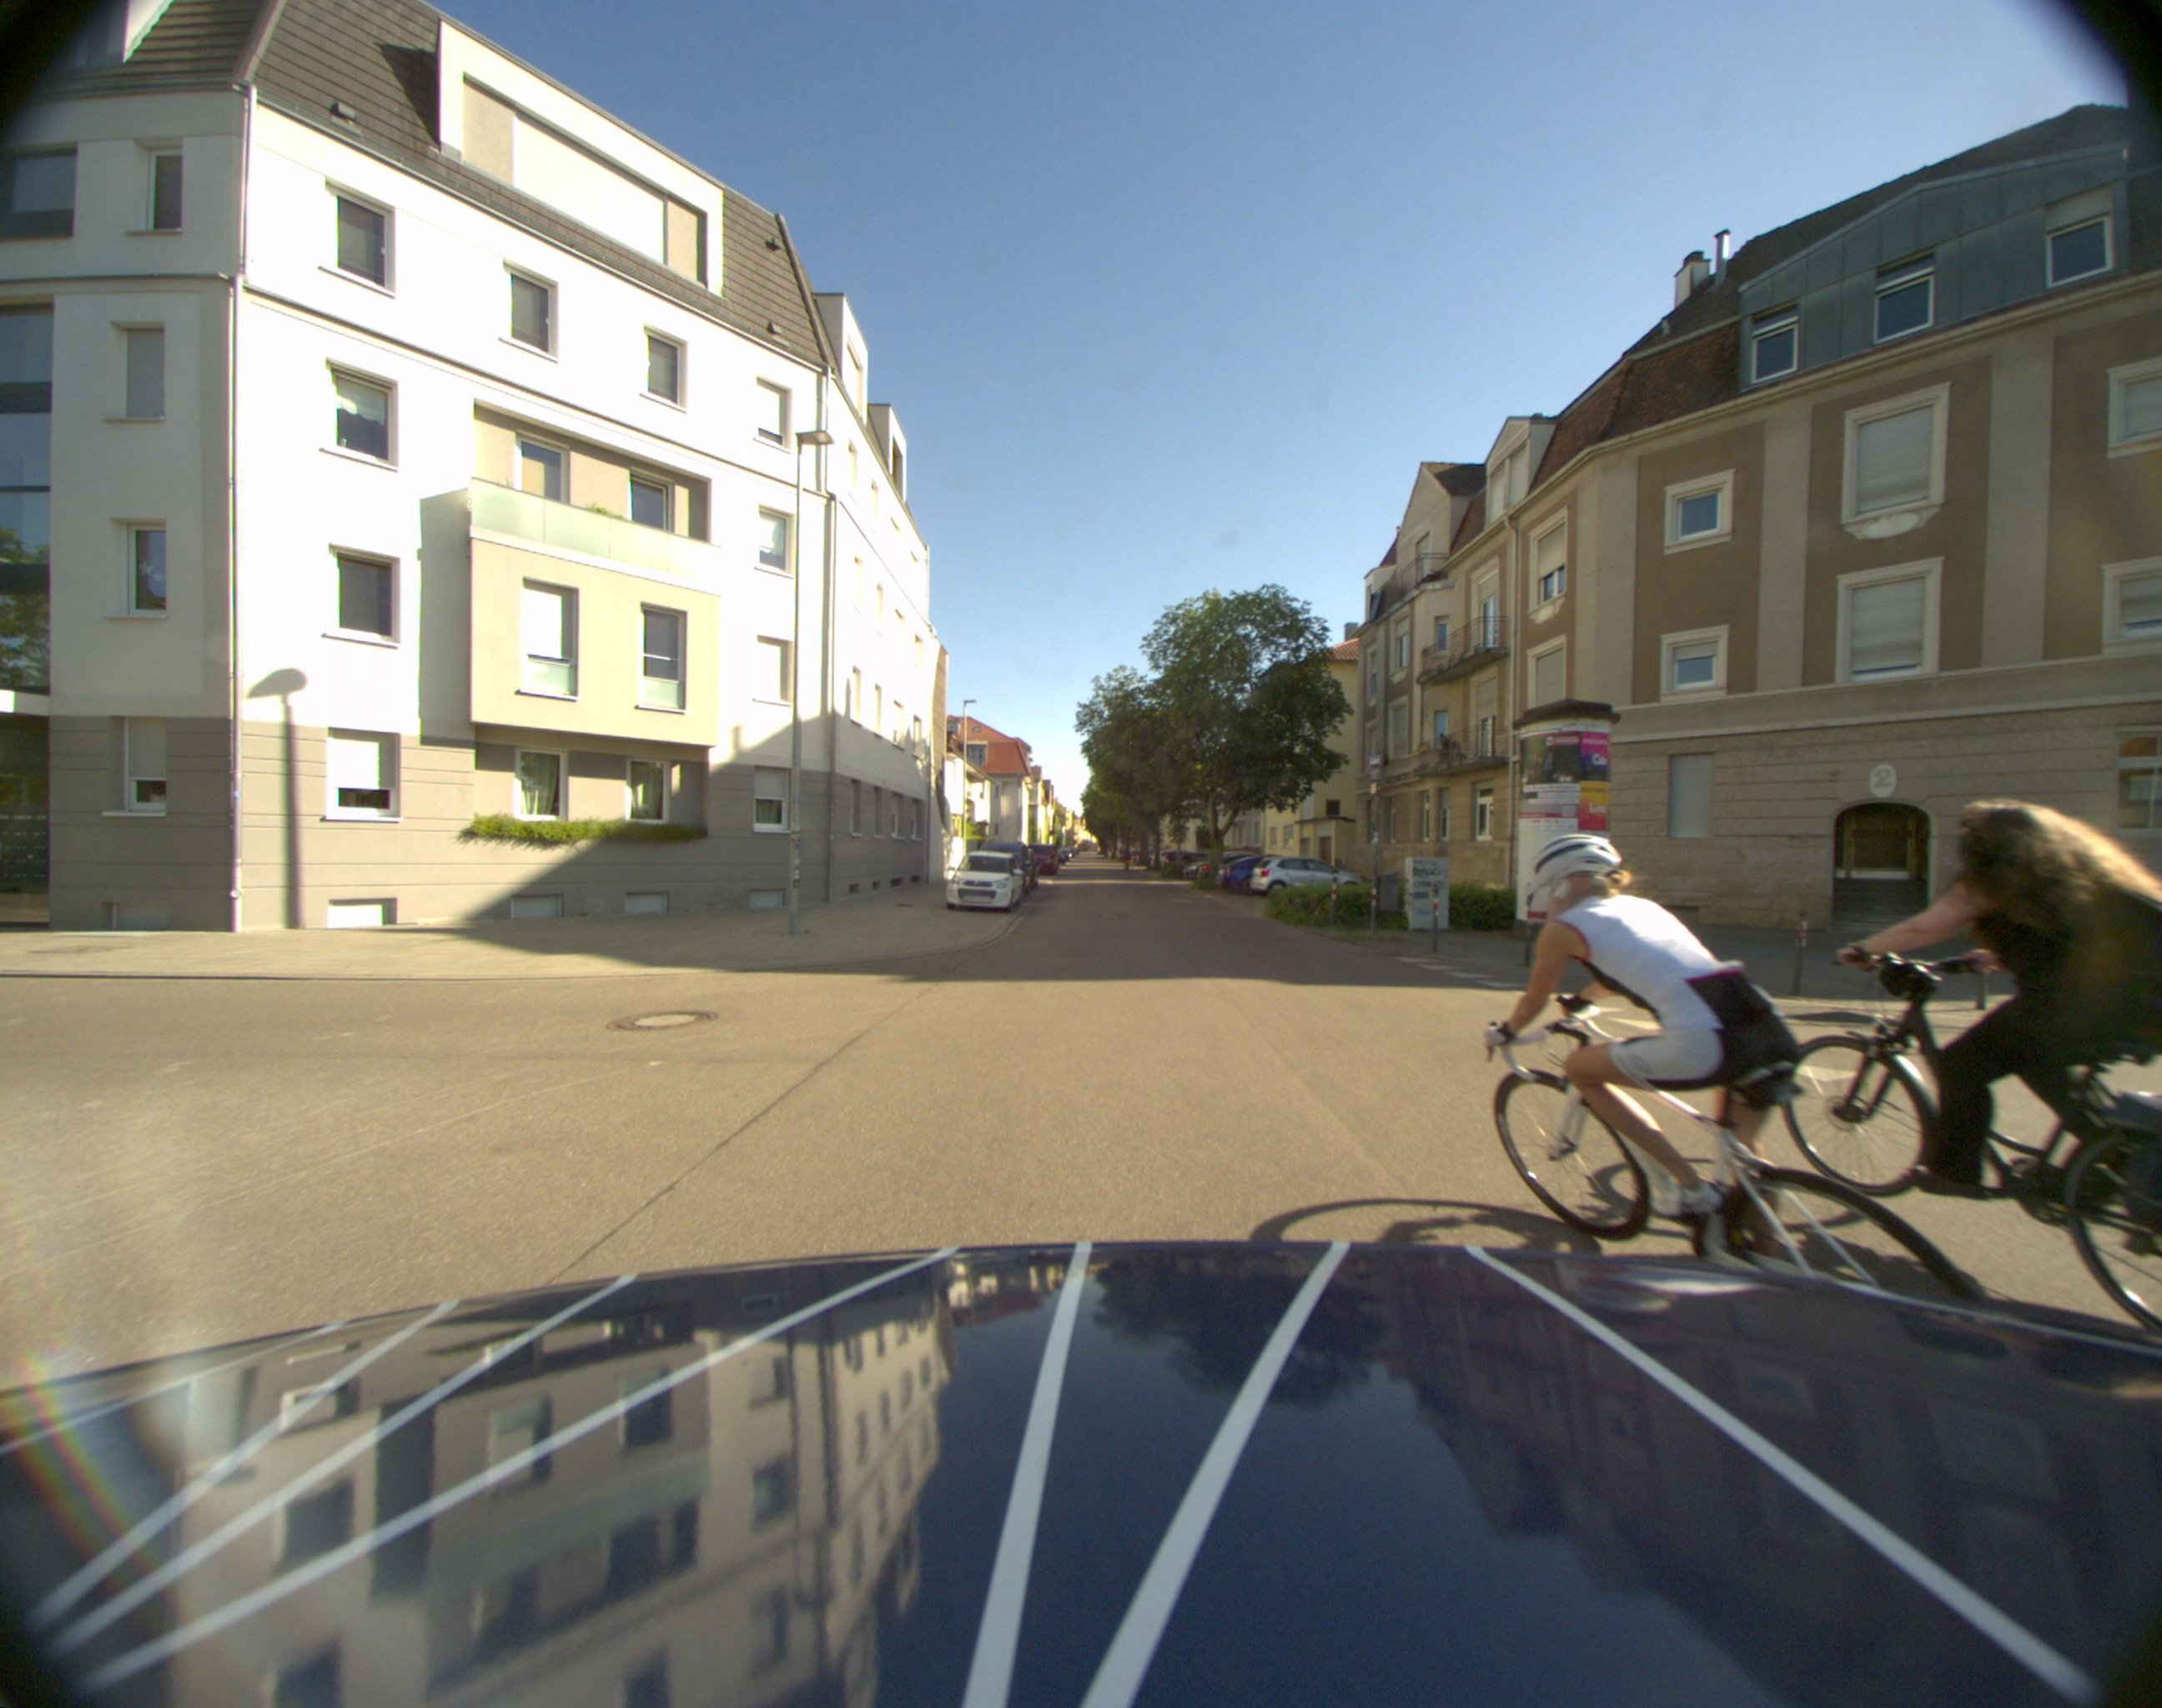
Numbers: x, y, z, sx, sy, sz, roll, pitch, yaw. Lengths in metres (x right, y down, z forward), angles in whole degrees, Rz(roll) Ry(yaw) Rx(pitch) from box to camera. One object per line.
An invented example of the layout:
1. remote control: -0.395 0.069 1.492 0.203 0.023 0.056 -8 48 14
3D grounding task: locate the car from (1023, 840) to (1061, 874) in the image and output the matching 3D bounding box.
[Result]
1. car: -2.321 0.170 46.247 1.884 1.860 4.401 4 1 1

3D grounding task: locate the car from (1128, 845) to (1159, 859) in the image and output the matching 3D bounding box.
1. car: 7.427 -0.255 90.890 3.528 1.693 1.692 0 1 -1

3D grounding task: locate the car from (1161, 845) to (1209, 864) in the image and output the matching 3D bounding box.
1. car: 8.378 0.051 61.437 3.529 1.486 1.691 0 1 -5

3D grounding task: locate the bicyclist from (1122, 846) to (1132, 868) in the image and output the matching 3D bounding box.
1. bicyclist: 3.279 0.203 54.460 0.644 1.557 1.043 1 1 1

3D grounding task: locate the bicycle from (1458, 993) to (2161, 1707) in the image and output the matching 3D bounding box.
1. bicycle: 1.773 1.121 2.215 0.506 1.083 1.709 1 1 2

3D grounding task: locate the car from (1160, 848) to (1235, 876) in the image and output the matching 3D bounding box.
1. car: 6.495 0.434 42.514 3.792 1.486 1.690 0 1 -13

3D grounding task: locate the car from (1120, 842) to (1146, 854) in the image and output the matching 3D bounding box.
1. car: 7.264 -0.793 106.337 3.528 1.693 1.692 0 1 -1

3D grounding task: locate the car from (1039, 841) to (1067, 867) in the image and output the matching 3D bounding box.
1. car: -2.163 -0.026 60.480 1.884 1.860 4.401 4 1 1

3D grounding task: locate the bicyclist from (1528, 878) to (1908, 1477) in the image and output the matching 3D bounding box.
1. bicyclist: 1.774 0.815 2.223 0.497 1.456 0.687 1 1 1

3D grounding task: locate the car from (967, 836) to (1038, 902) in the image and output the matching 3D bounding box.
1. car: -2.430 0.431 24.455 1.665 1.825 4.256 4 1 1

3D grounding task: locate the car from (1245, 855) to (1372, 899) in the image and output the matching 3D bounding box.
1. car: 7.713 0.767 25.979 3.789 1.436 1.692 0 1 -2

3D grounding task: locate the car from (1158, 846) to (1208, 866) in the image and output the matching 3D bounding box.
1. car: 7.872 0.132 58.683 3.529 1.486 1.691 0 1 -5

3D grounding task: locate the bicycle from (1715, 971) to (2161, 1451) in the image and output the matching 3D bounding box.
1. bicycle: 3.388 1.132 2.647 0.644 1.102 2.065 1 1 2

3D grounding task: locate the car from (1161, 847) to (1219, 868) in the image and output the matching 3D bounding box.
1. car: 7.738 0.247 54.148 3.790 1.486 1.691 0 1 -5

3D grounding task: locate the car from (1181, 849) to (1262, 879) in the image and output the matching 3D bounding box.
1. car: 7.281 0.497 39.528 3.792 1.486 1.690 0 1 -13

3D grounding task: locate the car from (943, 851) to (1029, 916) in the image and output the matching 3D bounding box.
1. car: -2.403 0.693 19.994 1.665 1.440 3.688 4 1 0

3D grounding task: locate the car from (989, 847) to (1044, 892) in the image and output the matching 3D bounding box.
1. car: -2.458 0.546 29.862 1.665 1.533 4.066 4 1 1

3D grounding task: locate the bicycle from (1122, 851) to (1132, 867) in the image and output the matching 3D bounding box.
1. bicycle: 3.277 0.374 54.369 0.644 1.102 2.065 1 1 2

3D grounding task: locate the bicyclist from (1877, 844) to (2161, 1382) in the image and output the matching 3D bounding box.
1. bicyclist: 3.388 0.777 2.579 0.644 1.610 0.637 1 1 1

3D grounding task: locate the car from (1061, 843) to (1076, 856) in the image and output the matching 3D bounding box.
1. car: -1.693 -0.588 102.209 1.884 1.734 4.401 1 0 1

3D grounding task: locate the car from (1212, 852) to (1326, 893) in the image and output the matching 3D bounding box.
1. car: 6.918 0.660 28.163 3.789 1.486 1.692 0 1 -2

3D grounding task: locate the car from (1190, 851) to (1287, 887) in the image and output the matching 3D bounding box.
1. car: 6.883 0.620 33.332 3.792 1.486 1.690 0 1 -13

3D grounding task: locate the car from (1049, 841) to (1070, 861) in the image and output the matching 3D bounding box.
1. car: -2.148 -0.297 75.714 1.884 1.860 4.401 1 0 1
